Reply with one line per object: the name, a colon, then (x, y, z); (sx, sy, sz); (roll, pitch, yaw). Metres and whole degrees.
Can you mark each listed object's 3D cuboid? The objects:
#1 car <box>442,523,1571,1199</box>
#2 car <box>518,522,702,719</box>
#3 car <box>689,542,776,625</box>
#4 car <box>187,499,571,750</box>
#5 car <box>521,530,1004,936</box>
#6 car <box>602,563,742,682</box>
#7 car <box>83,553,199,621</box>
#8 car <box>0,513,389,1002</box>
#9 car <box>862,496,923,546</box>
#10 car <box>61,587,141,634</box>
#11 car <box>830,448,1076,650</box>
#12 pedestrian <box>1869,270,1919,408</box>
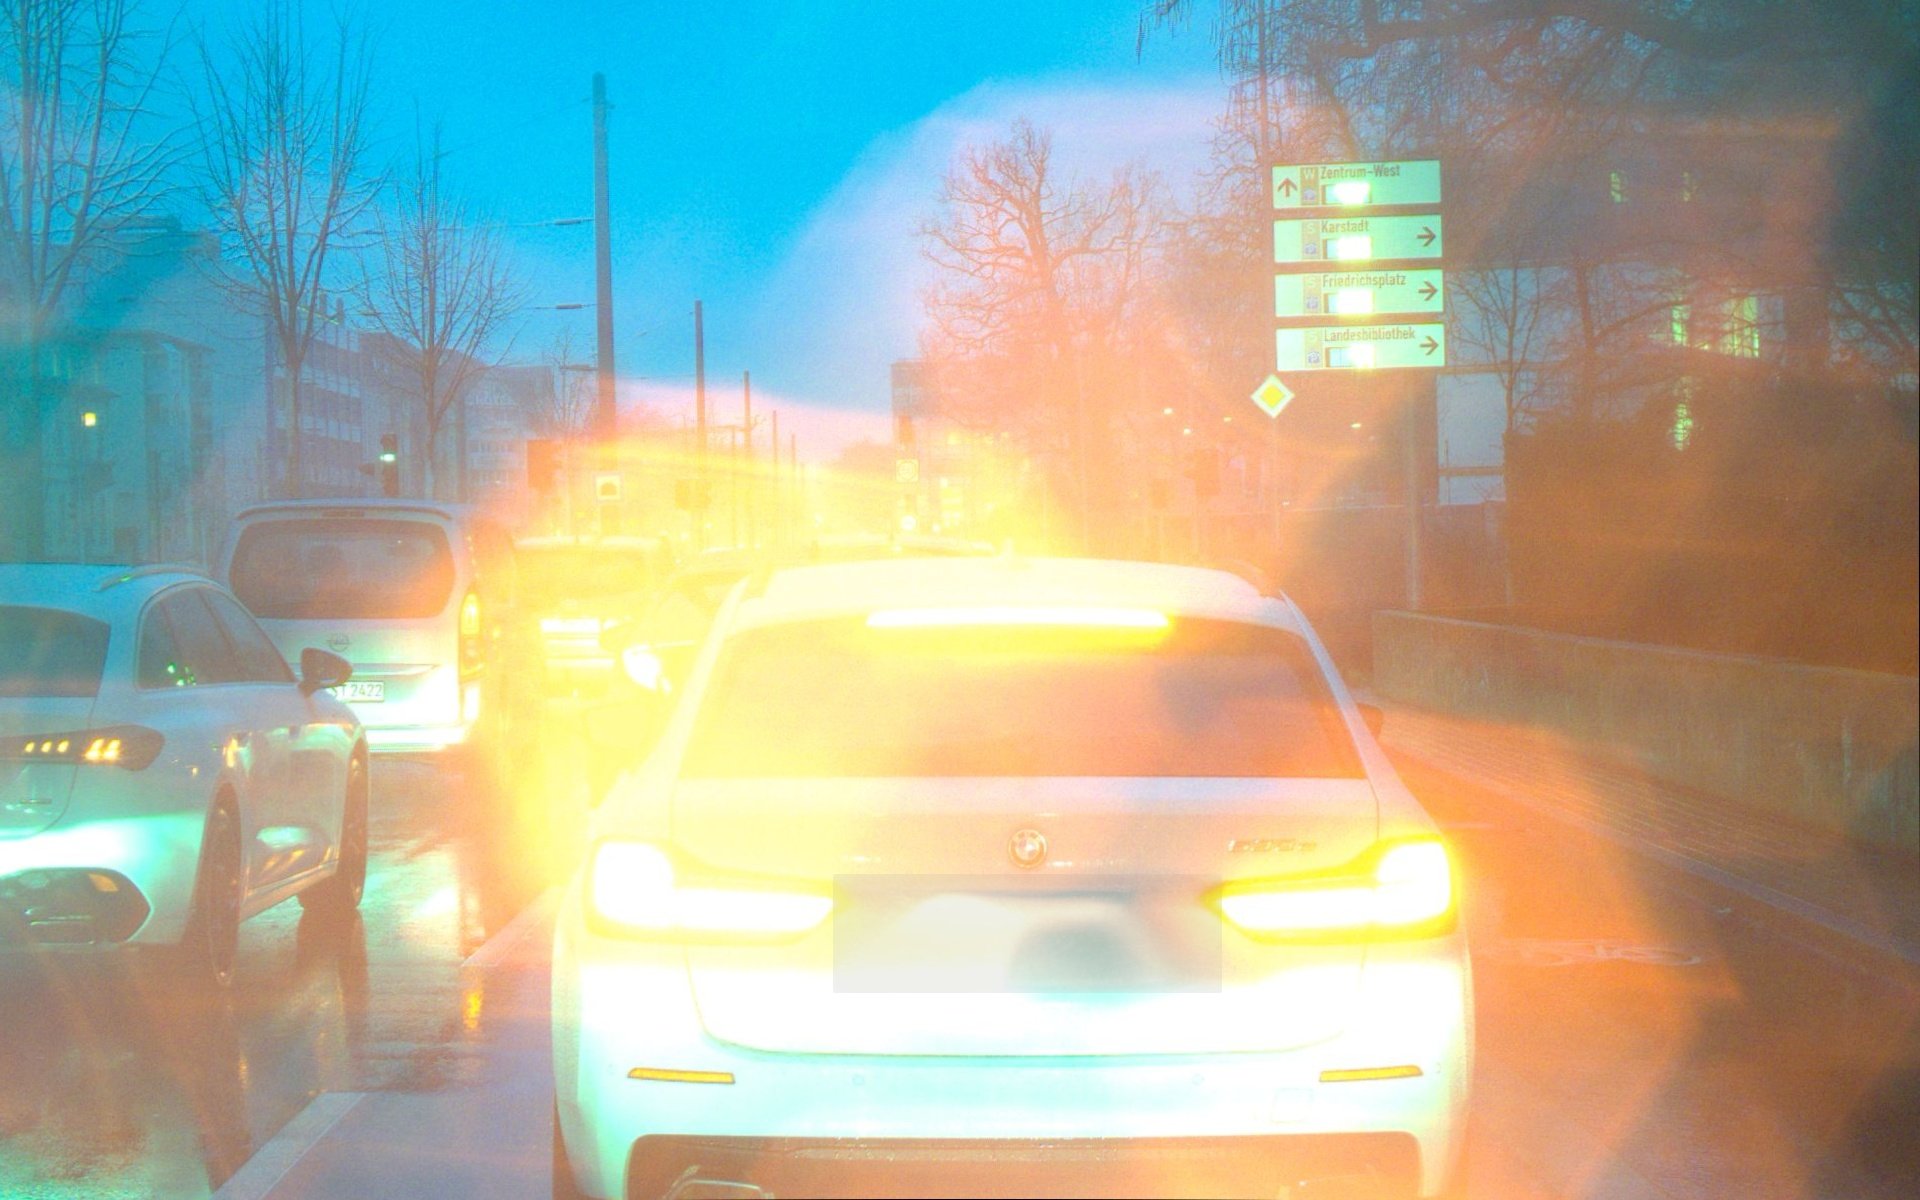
car: (0.057, 0.619, 8.213); (1.862, 1.550, 4.938); (-1, 1, -1)
car: (-3.068, 0.162, 30.492); (1.505, 1.647, 2.845); (1, 1, -4)
car: (-3.714, -0.272, 56.361); (1.362, 1.312, 2.716); (1, 1, -3)
car: (-3.612, 0.099, 22.090); (1.737, 1.415, 4.394); (-1, 1, -1)
car: (-0.765, 0.476, 14.938); (1.800, 1.505, 3.895); (-1, 1, -1)
car: (-3.307, 0.233, 39.795); (1.363, 1.312, 2.716); (1, 1, 0)
car: (-20.113, -0.327, 84.574); (1.993, 1.597, 4.000); (1, 1, -2)
car: (-3.366, 0.444, 12.616); (1.799, 1.461, 4.586); (-1, 1, -1)
car: (-1.991, -2.332, 101.618); (1.737, 1.415, 4.146); (-1, 1, -1)
car: (-24.578, 0.284, 98.436); (1.690, 1.273, 4.149); (-1, 1, -7)
car: (-0.073, -0.400, 26.554); (1.737, 1.415, 3.703); (-1, 1, -1)
pedestrian: (14.279, -3.914, 51.688); (0.959, 2.007, 1.007); (-1, 1, 3)
